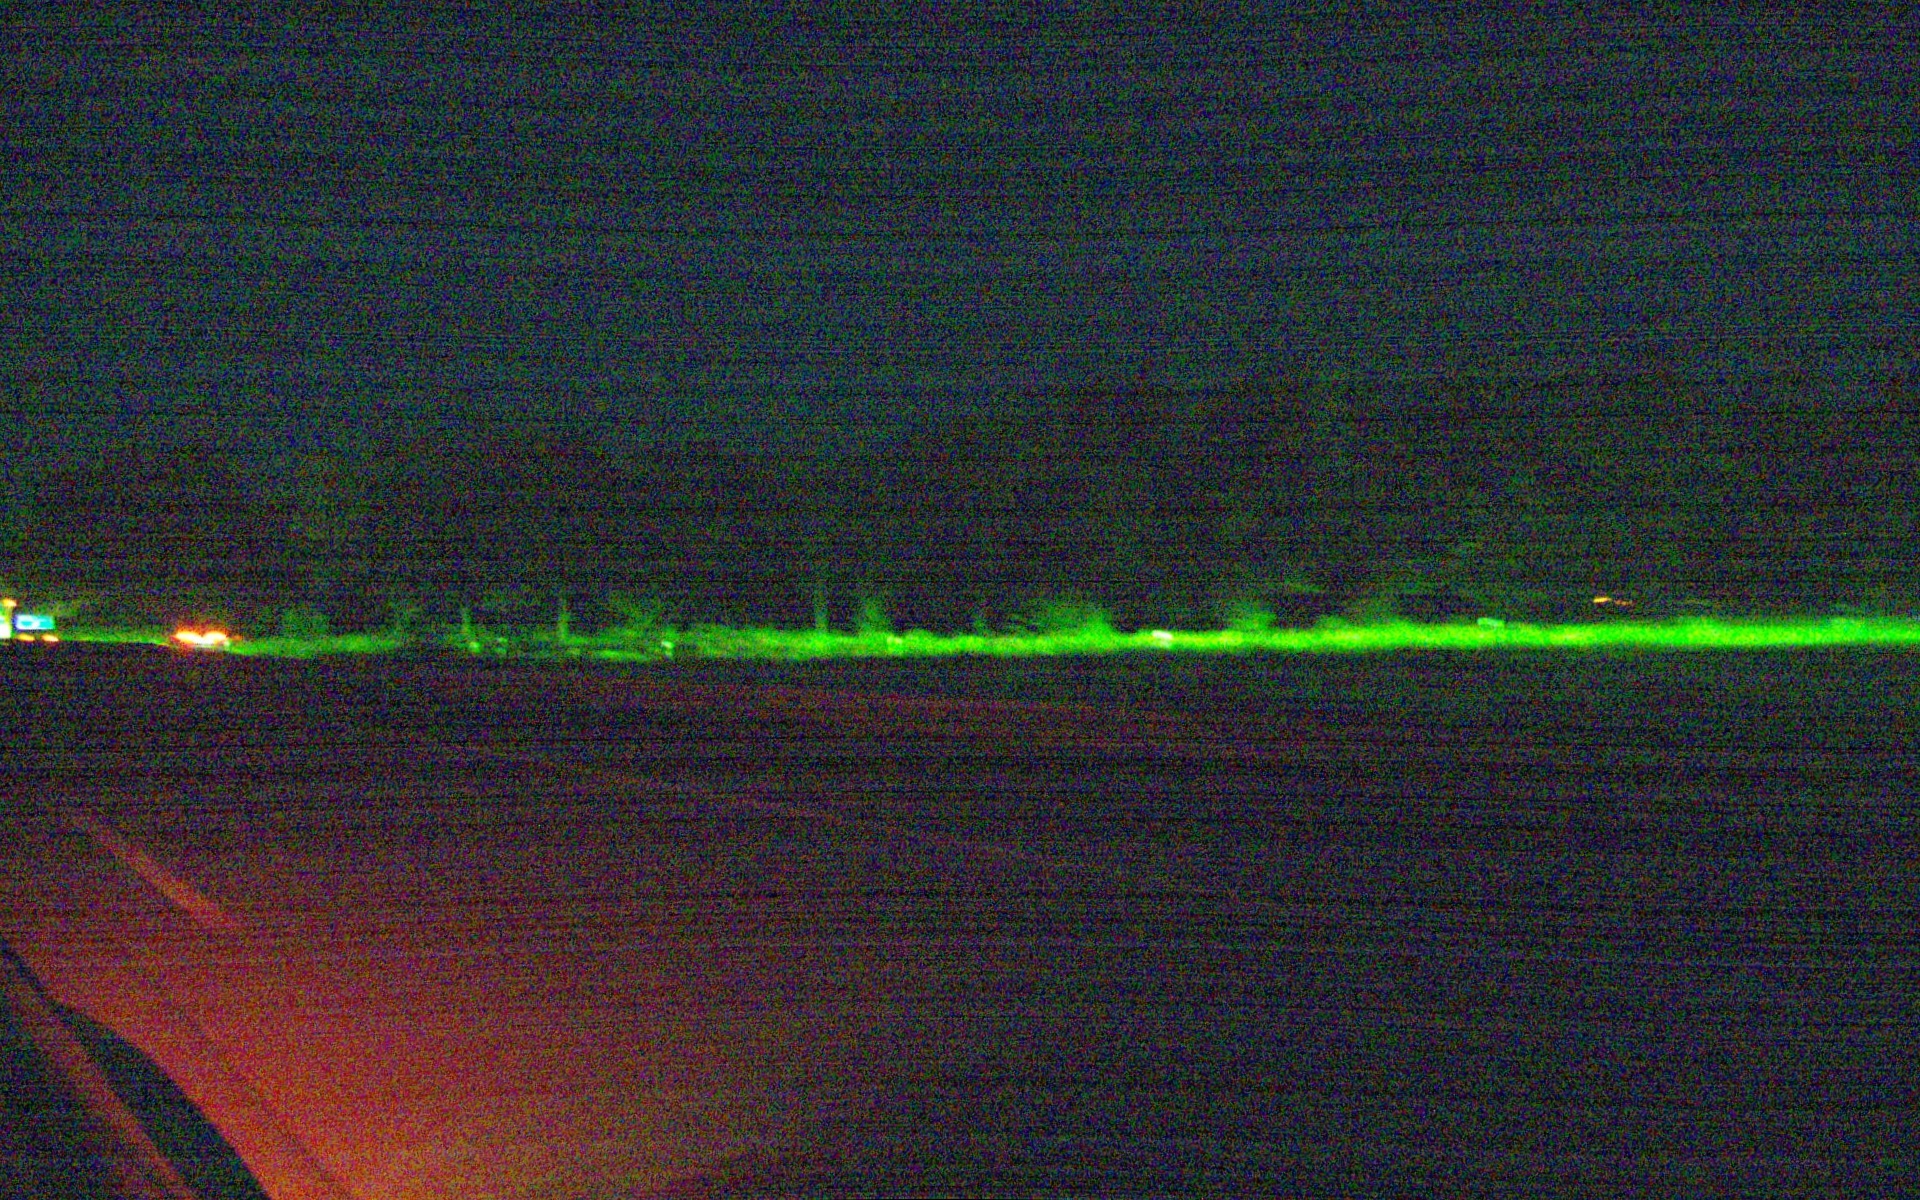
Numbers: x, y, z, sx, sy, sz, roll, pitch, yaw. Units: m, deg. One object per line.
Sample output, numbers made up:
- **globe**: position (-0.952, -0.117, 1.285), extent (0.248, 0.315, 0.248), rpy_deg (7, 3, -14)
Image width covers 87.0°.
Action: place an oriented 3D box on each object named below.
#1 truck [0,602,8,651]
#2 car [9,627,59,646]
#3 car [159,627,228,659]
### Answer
- **truck**: position (-86.480, 2.316, 88.353), extent (13.888, 4.159, 2.720), rpy_deg (-1, -2, 38)
- **car**: position (-63.572, 2.487, 69.450), extent (4.291, 1.281, 1.973), rpy_deg (-2, -2, 40)
- **car**: position (-40.028, 2.223, 52.819), extent (4.291, 1.569, 1.973), rpy_deg (-2, -2, 40)
